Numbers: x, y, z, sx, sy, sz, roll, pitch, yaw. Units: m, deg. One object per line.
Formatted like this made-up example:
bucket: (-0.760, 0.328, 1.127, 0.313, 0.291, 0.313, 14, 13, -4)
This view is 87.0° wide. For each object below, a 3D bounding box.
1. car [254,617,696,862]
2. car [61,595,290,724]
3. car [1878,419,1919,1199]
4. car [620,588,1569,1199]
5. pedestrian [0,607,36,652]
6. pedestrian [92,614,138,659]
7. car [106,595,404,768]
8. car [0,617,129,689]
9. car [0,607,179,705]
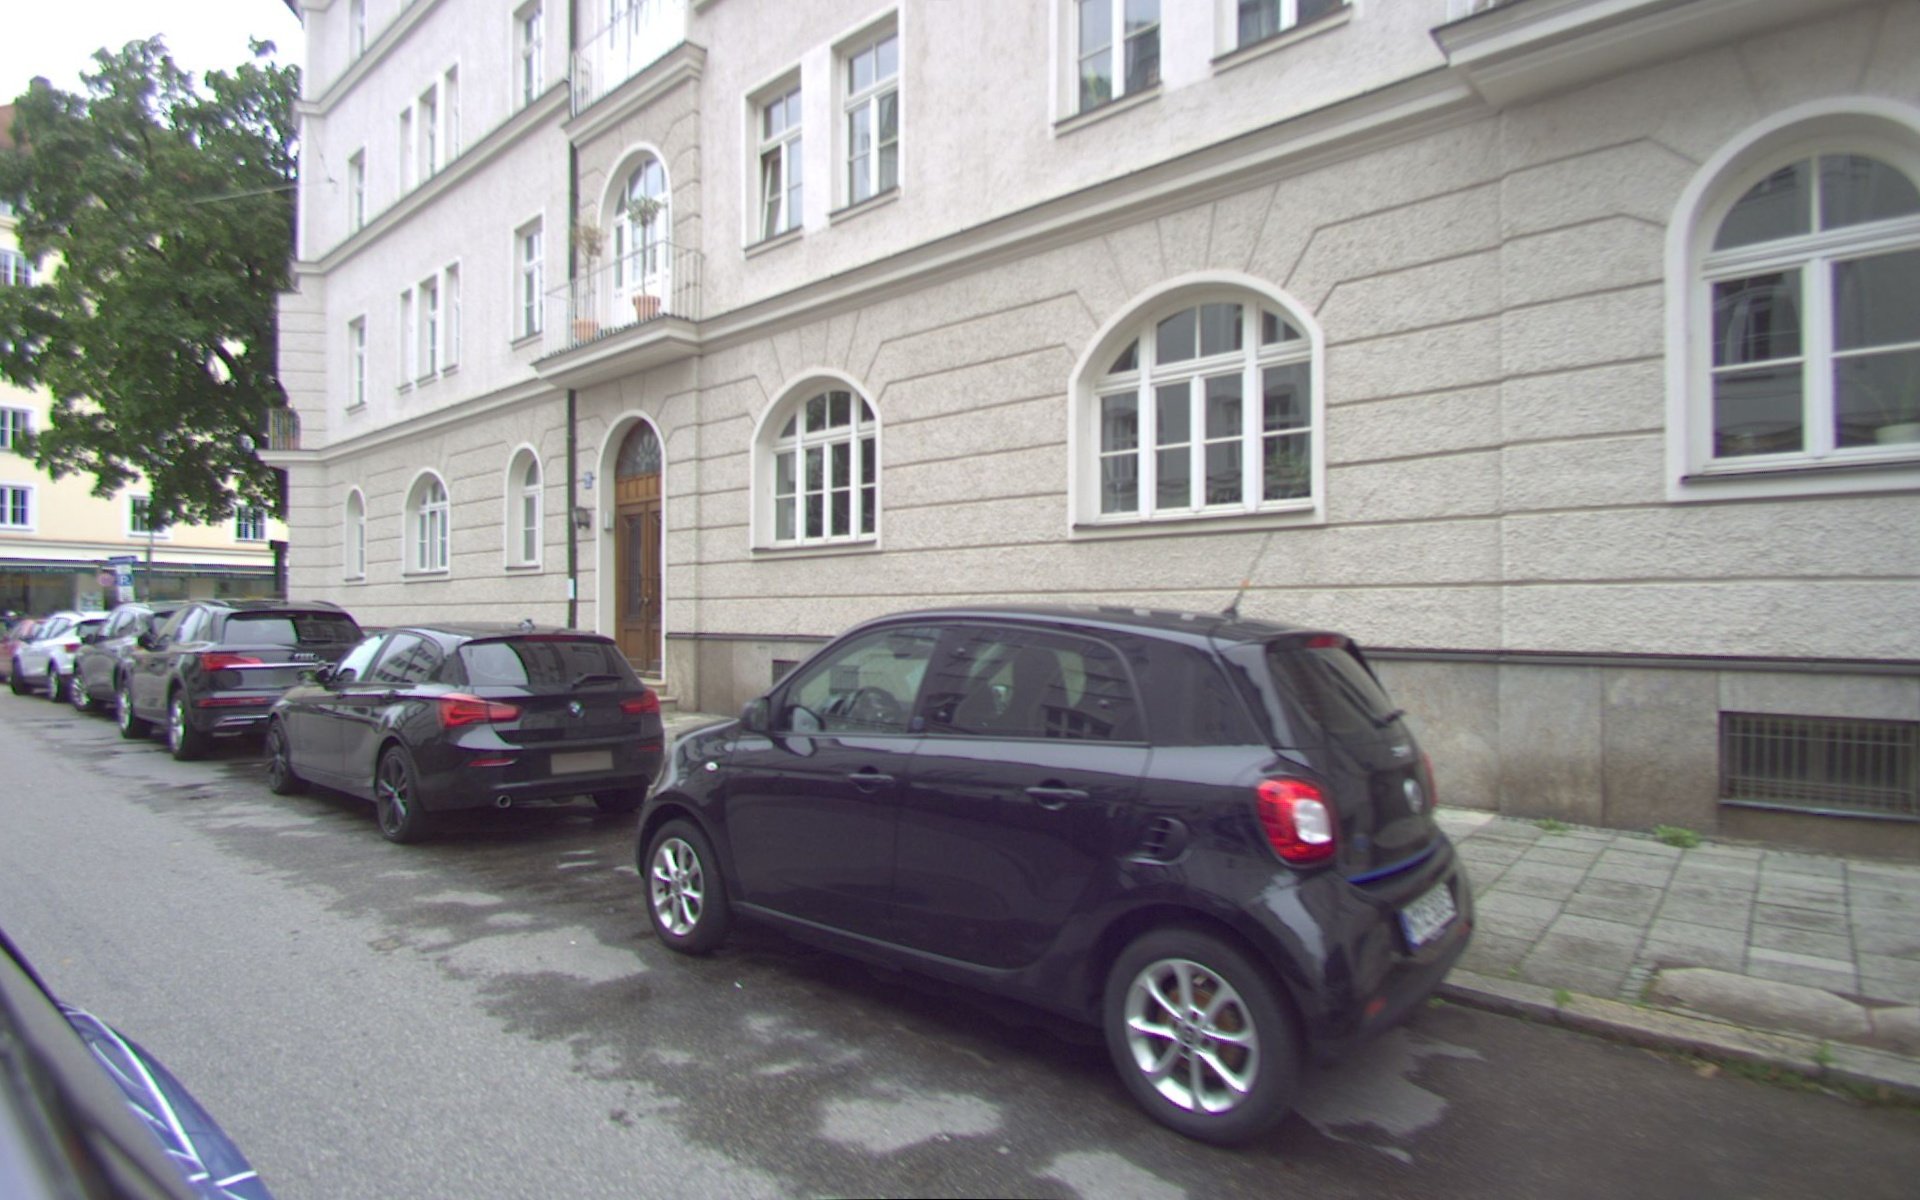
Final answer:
car: (-3.918, 0.853, 7.845, 4.091, 1.417, 1.637, -1, -2, 42)
car: (-11.914, 0.818, 15.283, 4.208, 1.690, 1.818, -1, -1, 39)
car: (4.005, 0.508, 0.748, 4.757, 1.909, 1.818, -1, -3, 39)
car: (0.326, 0.778, 4.137, 3.527, 1.525, 1.600, -1, -2, 39)
pedestrian: (-34.628, 1.078, 37.061, 0.907, 1.623, 0.778, 0, -1, -20)
pedestrian: (-32.231, 1.363, 38.618, 0.868, 1.689, 1.113, -1, -1, 31)
car: (-8.224, 0.804, 11.638, 4.432, 1.611, 1.856, -1, -1, 42)
car: (-19.433, 1.083, 21.643, 4.473, 1.403, 1.664, -1, -2, 38)
car: (-15.838, 0.927, 18.310, 3.943, 1.580, 1.679, 0, -1, 36)
